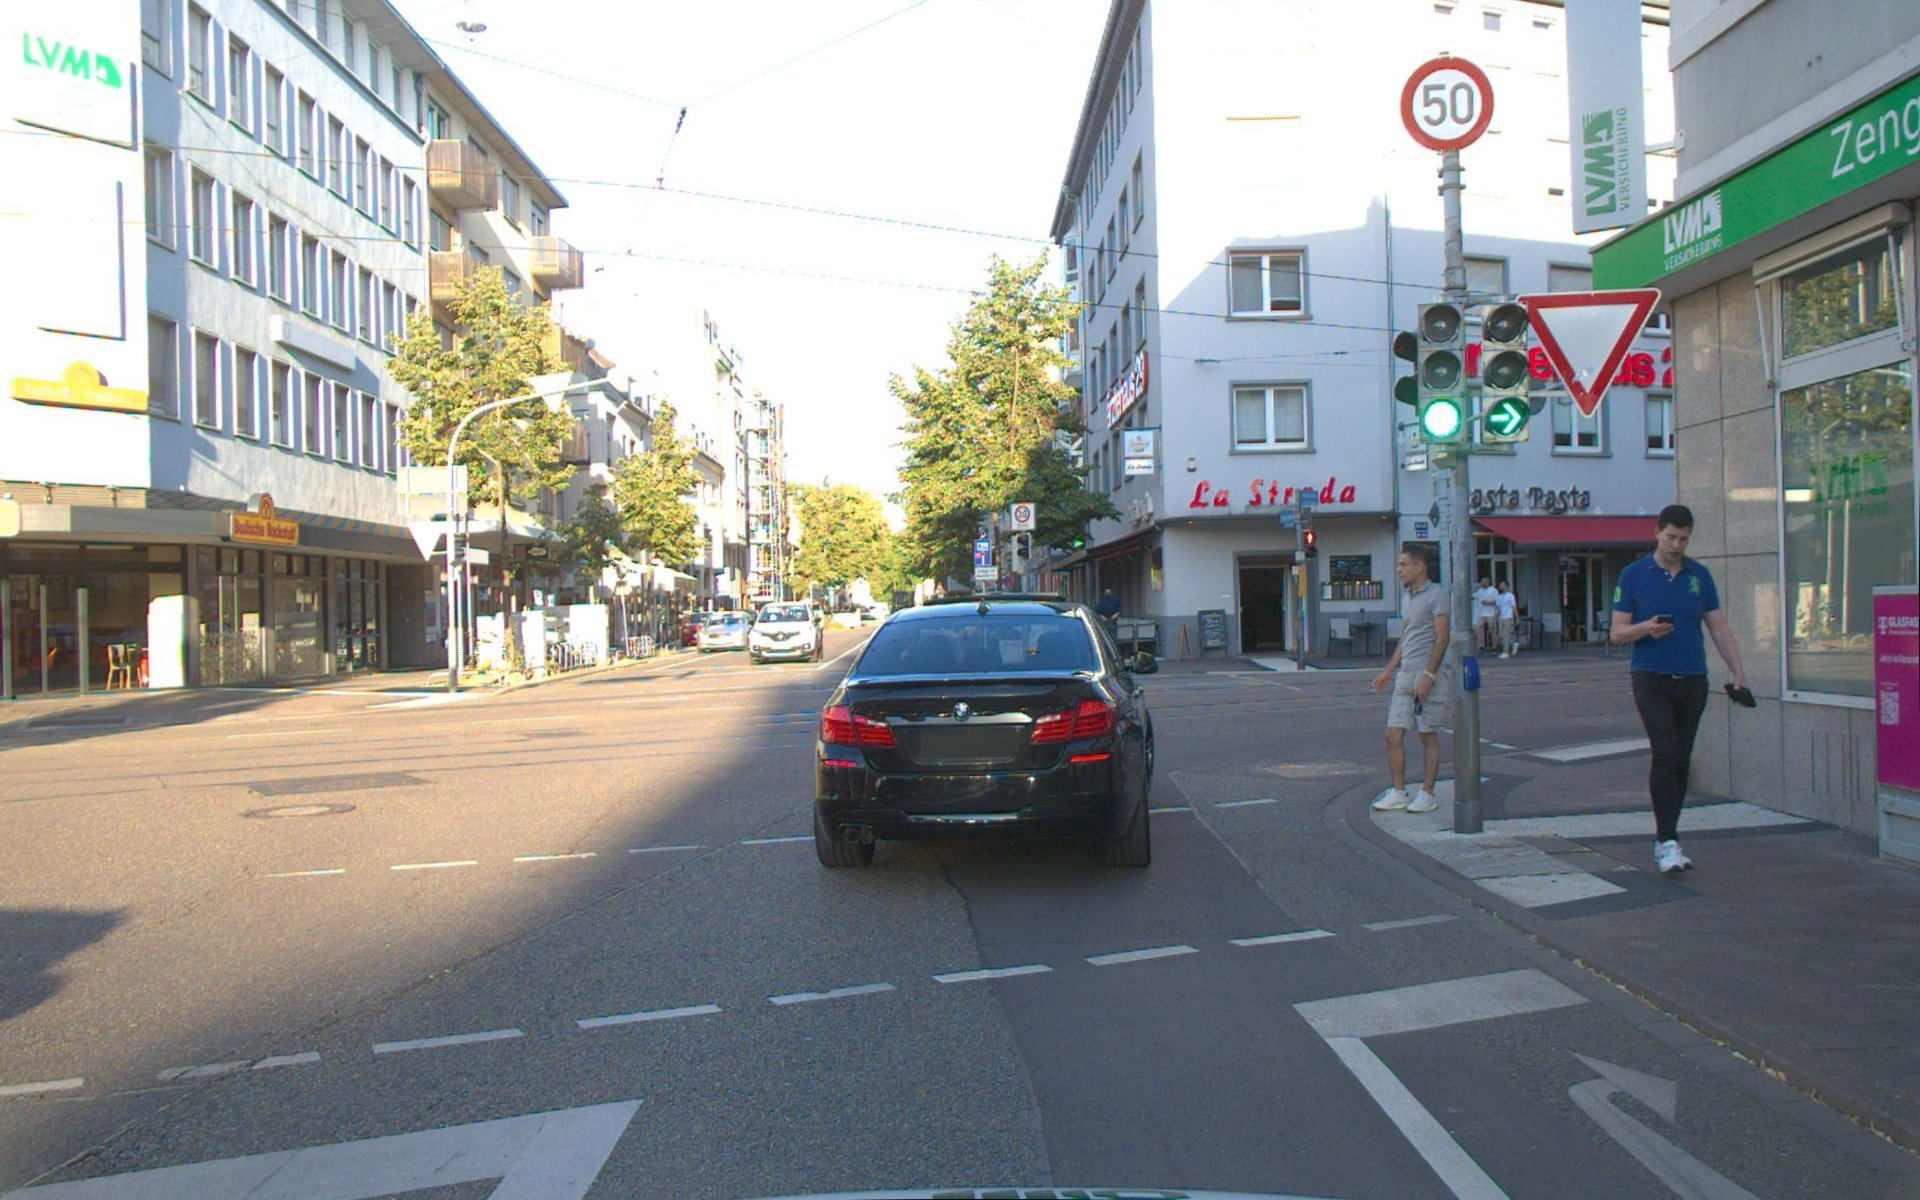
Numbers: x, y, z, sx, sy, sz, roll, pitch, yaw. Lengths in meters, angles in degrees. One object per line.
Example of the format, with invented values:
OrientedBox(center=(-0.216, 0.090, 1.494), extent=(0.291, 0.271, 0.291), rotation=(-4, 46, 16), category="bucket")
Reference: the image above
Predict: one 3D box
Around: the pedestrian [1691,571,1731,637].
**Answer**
OrientedBox(center=(19.486, 0.098, 42.930), extent=(0.614, 1.690, 0.679), rotation=(-2, 0, -25), category="pedestrian")

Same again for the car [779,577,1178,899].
OrientedBox(center=(0.303, 0.685, 10.286), extent=(1.912, 1.524, 4.468), rotation=(-2, 0, 6), category="car")

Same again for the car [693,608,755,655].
OrientedBox(center=(-8.384, 1.101, 59.052), extent=(1.798, 1.583, 3.778), rotation=(-1, 0, -3), category="car")

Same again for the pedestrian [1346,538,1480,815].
OrientedBox(center=(3.015, 0.495, 11.056), extent=(0.638, 1.773, 0.694), rotation=(-2, -1, -2), category="pedestrian")

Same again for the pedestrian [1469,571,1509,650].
OrientedBox(center=(12.335, 0.242, 38.561), extent=(0.591, 1.810, 0.633), rotation=(-1, 0, -27), category="pedestrian")

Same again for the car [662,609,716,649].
OrientedBox(center=(-11.624, 1.255, 71.242), extent=(1.798, 1.583, 3.777), rotation=(-3, -1, -3), category="car")

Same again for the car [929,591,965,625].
OrientedBox(center=(-0.691, 0.458, 90.152), extent=(1.813, 1.825, 4.000), rotation=(0, -1, 1), category="car")

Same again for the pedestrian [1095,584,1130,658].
OrientedBox(center=(3.568, 0.480, 38.698), extent=(0.697, 1.706, 0.703), rotation=(-1, 0, -2), category="pedestrian")

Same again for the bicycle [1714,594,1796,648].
OrientedBox(center=(19.222, 0.485, 40.039), extent=(0.544, 1.232, 1.883), rotation=(-1, 2, -24), category="bicycle")

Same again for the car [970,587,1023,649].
OrientedBox(center=(1.186, 0.536, 53.666), extent=(1.606, 1.906, 3.608), rotation=(1, 0, 1), category="car")

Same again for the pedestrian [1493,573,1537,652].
OrientedBox(center=(12.702, 0.279, 37.866), extent=(0.659, 1.775, 0.632), rotation=(-1, 0, -29), category="pedestrian")

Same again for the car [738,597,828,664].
OrientedBox(center=(-4.641, 0.798, 43.820), extent=(2.066, 1.583, 4.010), rotation=(-3, -1, -3), category="car")

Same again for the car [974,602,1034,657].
OrientedBox(center=(1.243, 0.809, 47.136), extent=(1.606, 1.469, 3.607), rotation=(-2, 0, 1), category="car")

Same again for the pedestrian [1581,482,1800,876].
OrientedBox(center=(3.669, 0.382, 8.378), extent=(0.676, 1.859, 0.881), rotation=(-2, -1, 3), category="pedestrian")

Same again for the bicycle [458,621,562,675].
OrientedBox(center=(-10.795, 1.153, 39.710), extent=(2.321, 1.275, 0.639), rotation=(0, -1, -6), category="bicycle")
